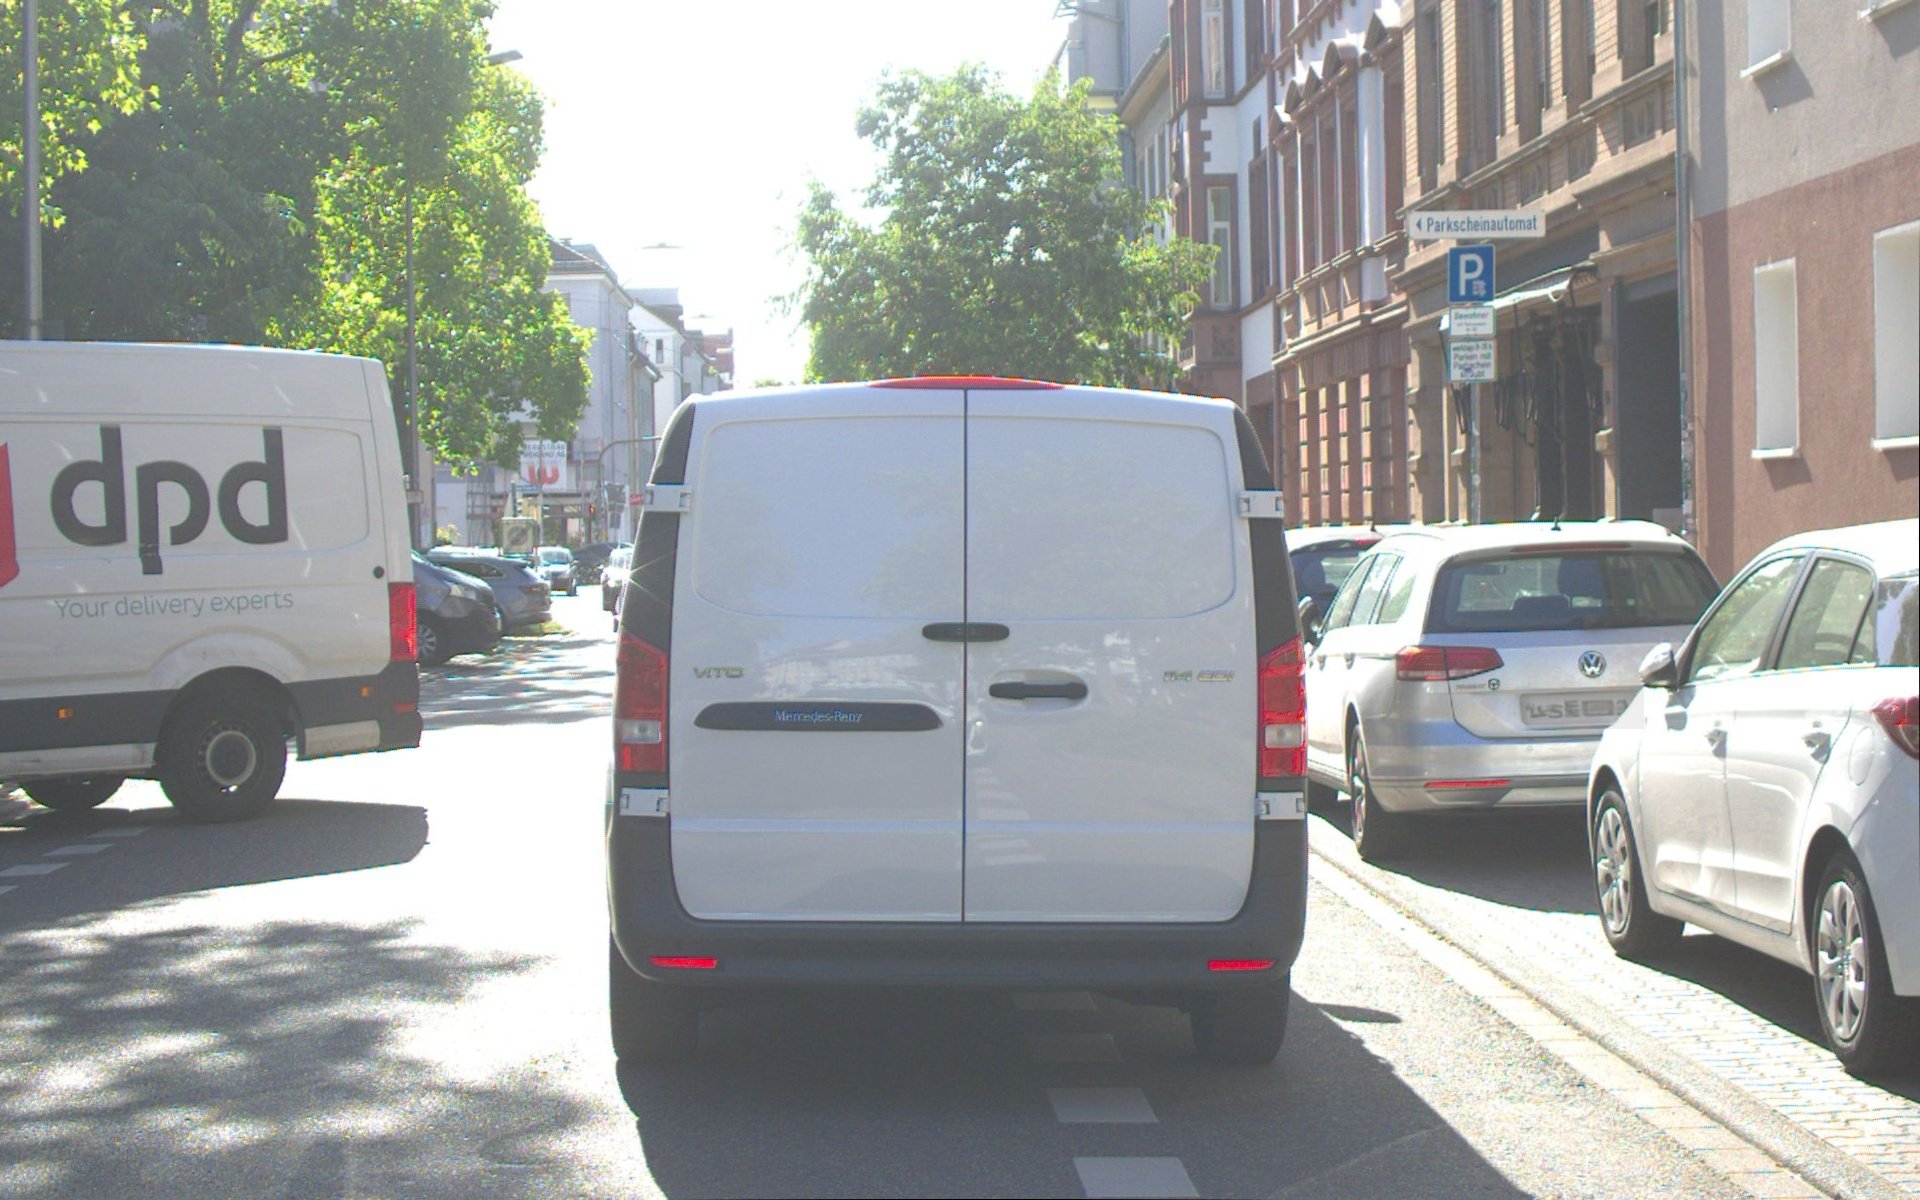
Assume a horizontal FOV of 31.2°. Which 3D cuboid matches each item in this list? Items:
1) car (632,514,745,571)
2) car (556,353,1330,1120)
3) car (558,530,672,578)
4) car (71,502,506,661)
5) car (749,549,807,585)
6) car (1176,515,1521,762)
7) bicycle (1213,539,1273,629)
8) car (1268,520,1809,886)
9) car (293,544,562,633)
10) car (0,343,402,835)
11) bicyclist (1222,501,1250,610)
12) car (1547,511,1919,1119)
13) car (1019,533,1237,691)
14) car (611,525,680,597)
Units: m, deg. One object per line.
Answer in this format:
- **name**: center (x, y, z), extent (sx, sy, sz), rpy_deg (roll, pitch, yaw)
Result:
- **car**: center (-9.868, -2.103, 125.316), extent (3.986, 2.007, 2.000), rpy_deg (-1, 1, -2)
- **car**: center (-0.090, 0.289, 11.034), extent (1.920, 1.907, 4.888), rpy_deg (0, 1, -1)
- **car**: center (-12.226, -1.636, 121.942), extent (3.986, 1.634, 2.000), rpy_deg (-1, 1, -5)
- **car**: center (-8.649, -0.249, 44.629), extent (5.292, 1.967, 2.016), rpy_deg (0, 1, -2)
- **car**: center (-5.184, -0.960, 97.967), extent (1.610, 0.963, 4.001), rpy_deg (-1, 1, -3)
- **car**: center (2.481, 0.199, 22.763), extent (1.709, 1.475, 3.711), rpy_deg (-1, 1, -2)
- **bicycle**: center (3.856, -0.213, 46.928), extent (0.536, 1.145, 2.124), rpy_deg (-8, 0, 1)
- **car**: center (2.600, 0.385, 16.500), extent (1.785, 1.455, 4.517), rpy_deg (-2, 1, 0)
- **car**: center (-9.058, -0.208, 58.728), extent (4.305, 1.455, 1.762), rpy_deg (1, 1, 0)
- **car**: center (-6.198, -0.036, 17.331), extent (6.585, 2.465, 1.999), rpy_deg (-2, 2, -41)
- **bicyclist**: center (3.785, -0.610, 47.094), extent (0.361, 1.472, 0.530), rpy_deg (0, 1, 2)
- **car**: center (3.105, 0.476, 10.467), extent (1.731, 1.481, 3.795), rpy_deg (-3, 1, -3)
- **car**: center (1.596, 0.073, 33.973), extent (1.738, 1.446, 4.001), rpy_deg (-1, 1, -3)
- **car**: center (-7.283, -0.911, 79.426), extent (1.530, 1.590, 4.001), rpy_deg (-1, 1, -6)
